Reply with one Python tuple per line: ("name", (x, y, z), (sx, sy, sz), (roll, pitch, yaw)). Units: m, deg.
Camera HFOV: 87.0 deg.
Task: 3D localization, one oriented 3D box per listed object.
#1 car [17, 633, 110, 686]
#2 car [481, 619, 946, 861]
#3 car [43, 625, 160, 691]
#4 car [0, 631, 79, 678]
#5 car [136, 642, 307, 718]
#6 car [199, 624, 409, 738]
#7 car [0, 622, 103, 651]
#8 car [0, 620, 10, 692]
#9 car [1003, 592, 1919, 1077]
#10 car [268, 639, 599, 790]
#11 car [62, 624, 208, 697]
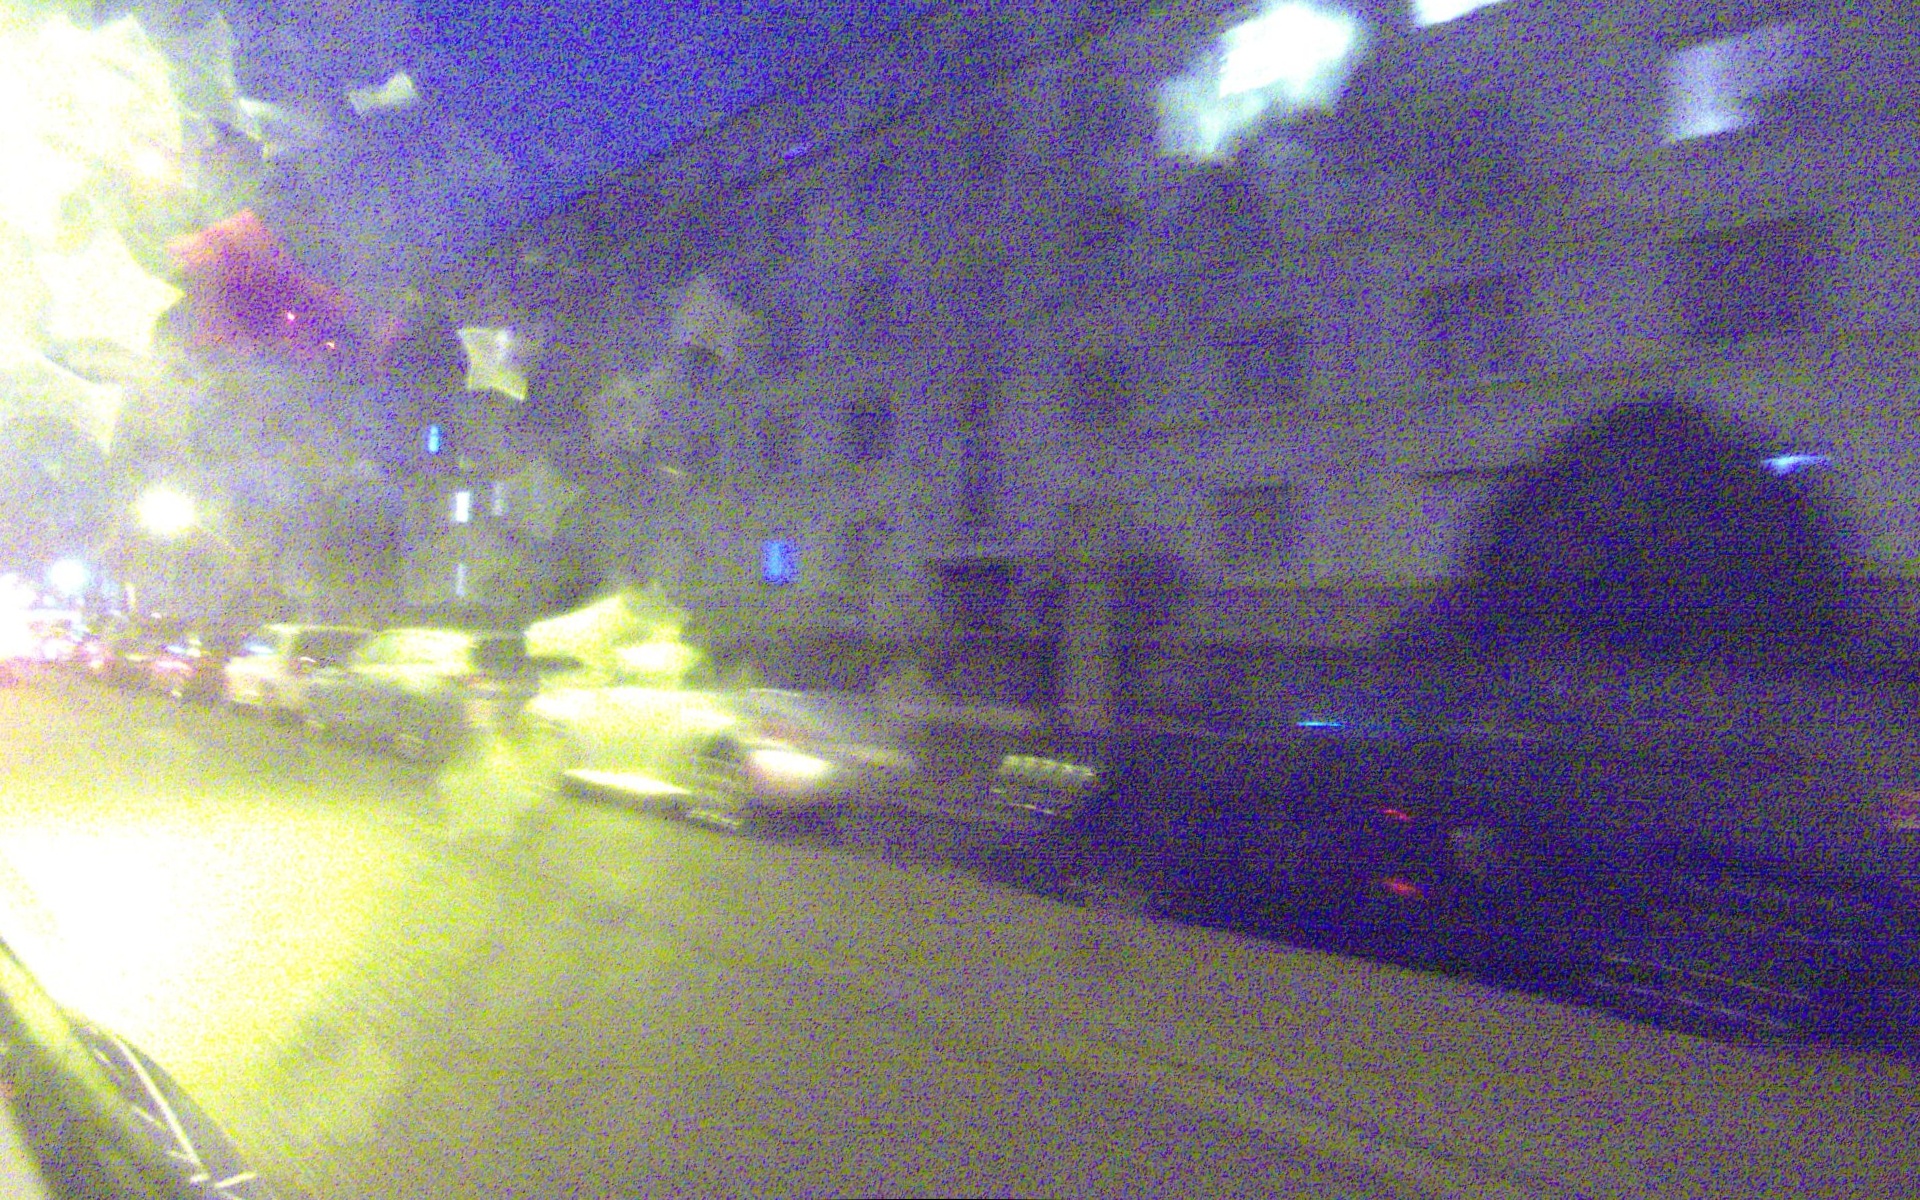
("car", (-26.963, 1.773, 30.406), (3.962, 1.484, 1.606), (-2, -4, 42))
("car", (-2.290, 0.996, 8.632), (4.390, 1.551, 1.648), (-2, -4, 42))
("car", (-22.545, 1.497, 26.531), (3.960, 1.585, 1.607), (-1, -5, 40))
("car", (-31.368, 1.828, 34.222), (4.543, 1.484, 1.607), (-2, -4, 39))
("car", (-14.415, 1.489, 19.656), (4.637, 1.278, 1.818), (-2, -4, 43))
("car", (-10.283, 1.209, 15.759), (4.058, 1.551, 1.688), (-2, -5, 42))
("car", (-56.122, 2.282, 62.608), (4.472, 1.719, 1.855), (3, -4, -35))
("car", (-22.869, 1.231, 22.821), (4.369, 1.551, 1.688), (-2, -4, 42))
("car", (2.454, 0.825, 4.841), (4.386, 1.551, 1.649), (-2, -4, 39))
("car", (-6.274, 1.198, 11.821), (4.669, 1.429, 1.604), (-2, -4, 38))
("car", (-18.541, 1.324, 22.672), (4.394, 1.484, 1.776), (-2, -4, 41))
